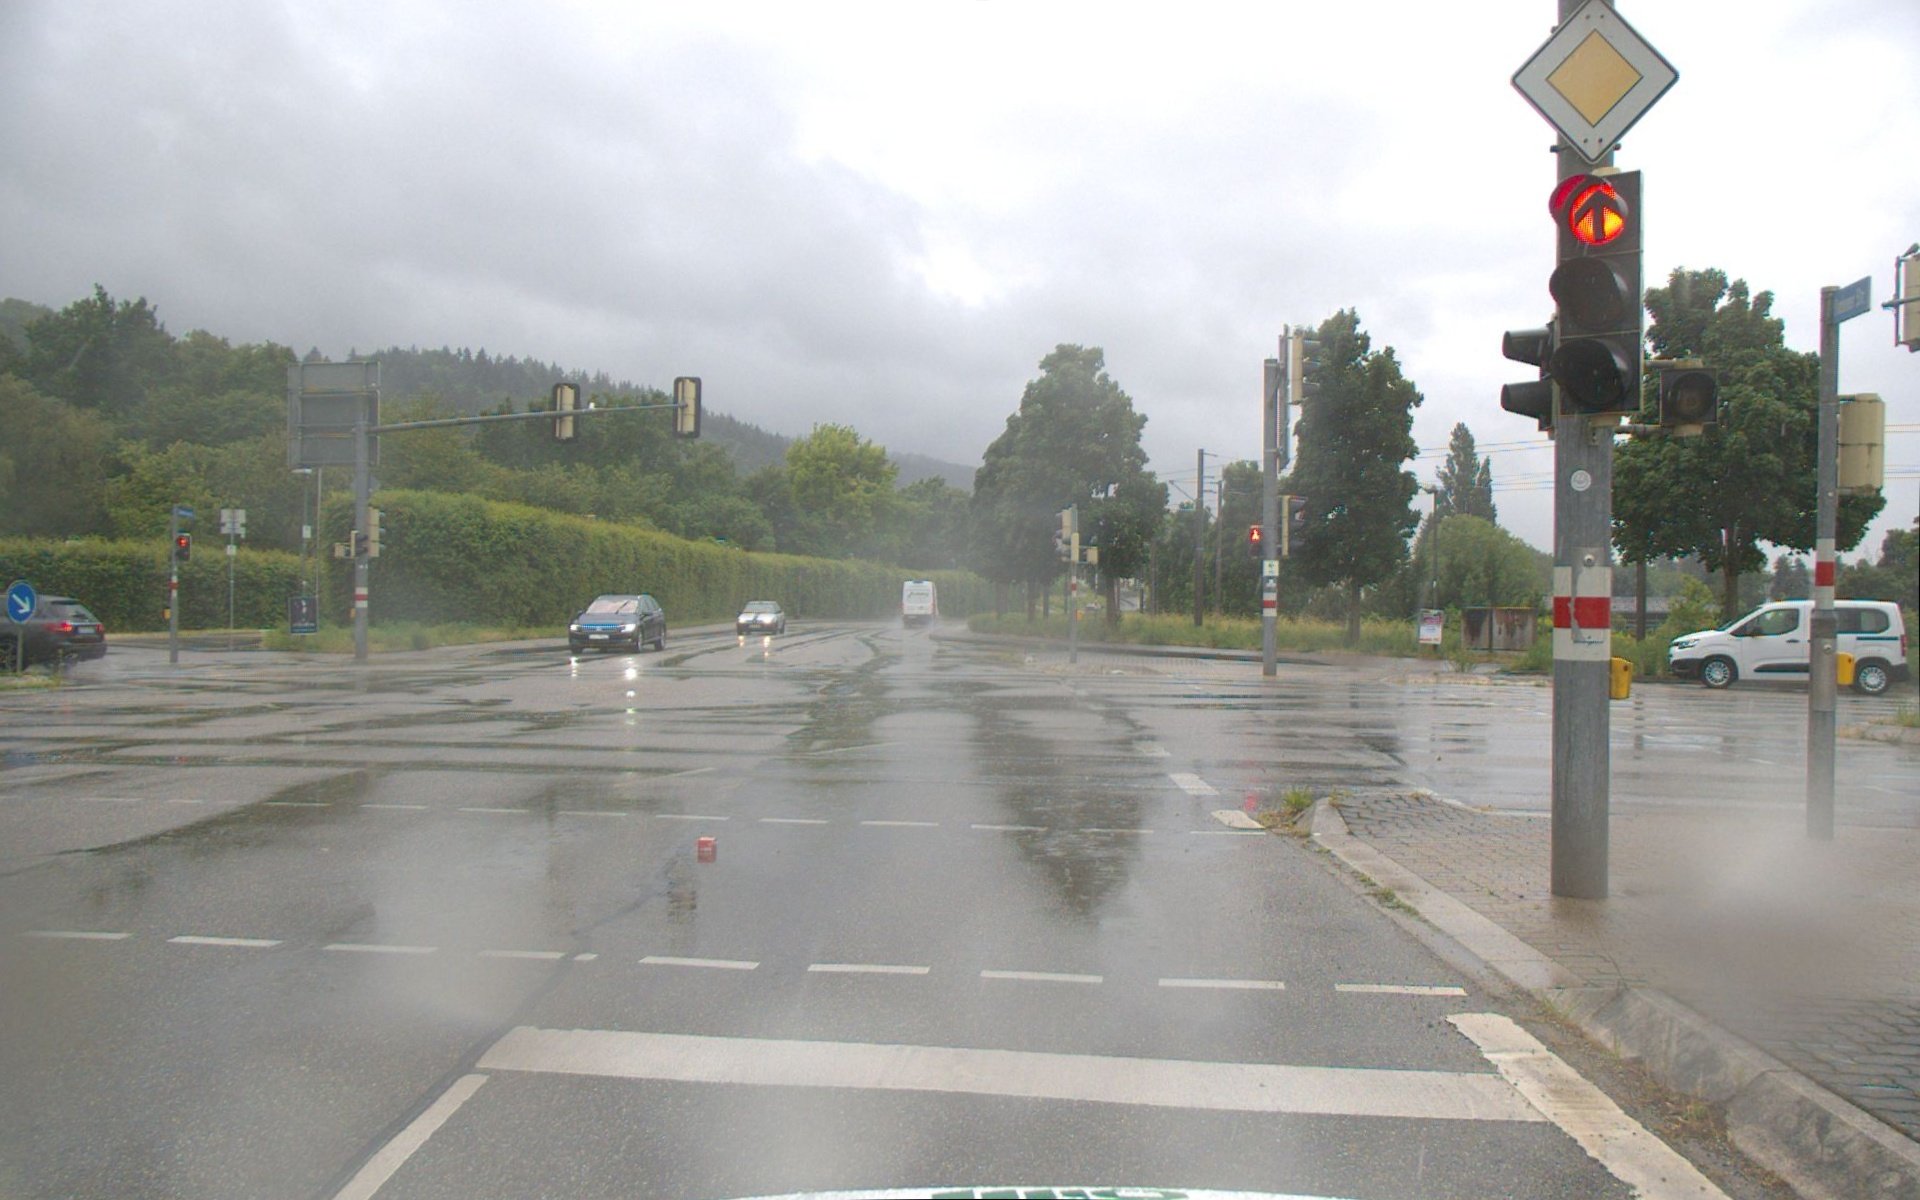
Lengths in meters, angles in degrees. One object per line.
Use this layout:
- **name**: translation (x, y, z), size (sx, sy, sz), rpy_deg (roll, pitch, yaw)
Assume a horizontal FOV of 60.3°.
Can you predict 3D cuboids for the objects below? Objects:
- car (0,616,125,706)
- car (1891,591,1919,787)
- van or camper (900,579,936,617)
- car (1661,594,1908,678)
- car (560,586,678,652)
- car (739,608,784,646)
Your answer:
- **car**: translation (-18.219, 1.097, 30.683), size (4.571, 1.580, 1.824), rpy_deg (0, 0, 4)
- **car**: translation (10.079, 0.727, 12.702), size (4.778, 1.580, 1.801), rpy_deg (0, 0, 6)
- **van or camper**: translation (-2.525, -0.131, 100.440), size (2.109, 2.207, 4.864), rpy_deg (1, 1, 0)
- **car**: translation (16.479, 0.681, 33.294), size (4.243, 1.580, 1.823), rpy_deg (0, 0, 19)
- **car**: translation (-8.982, 0.473, 43.993), size (1.839, 1.601, 4.647), rpy_deg (-1, 0, 4)
- **car**: translation (-8.364, 1.114, 69.938), size (1.526, 1.507, 3.361), rpy_deg (1, 1, 0)
